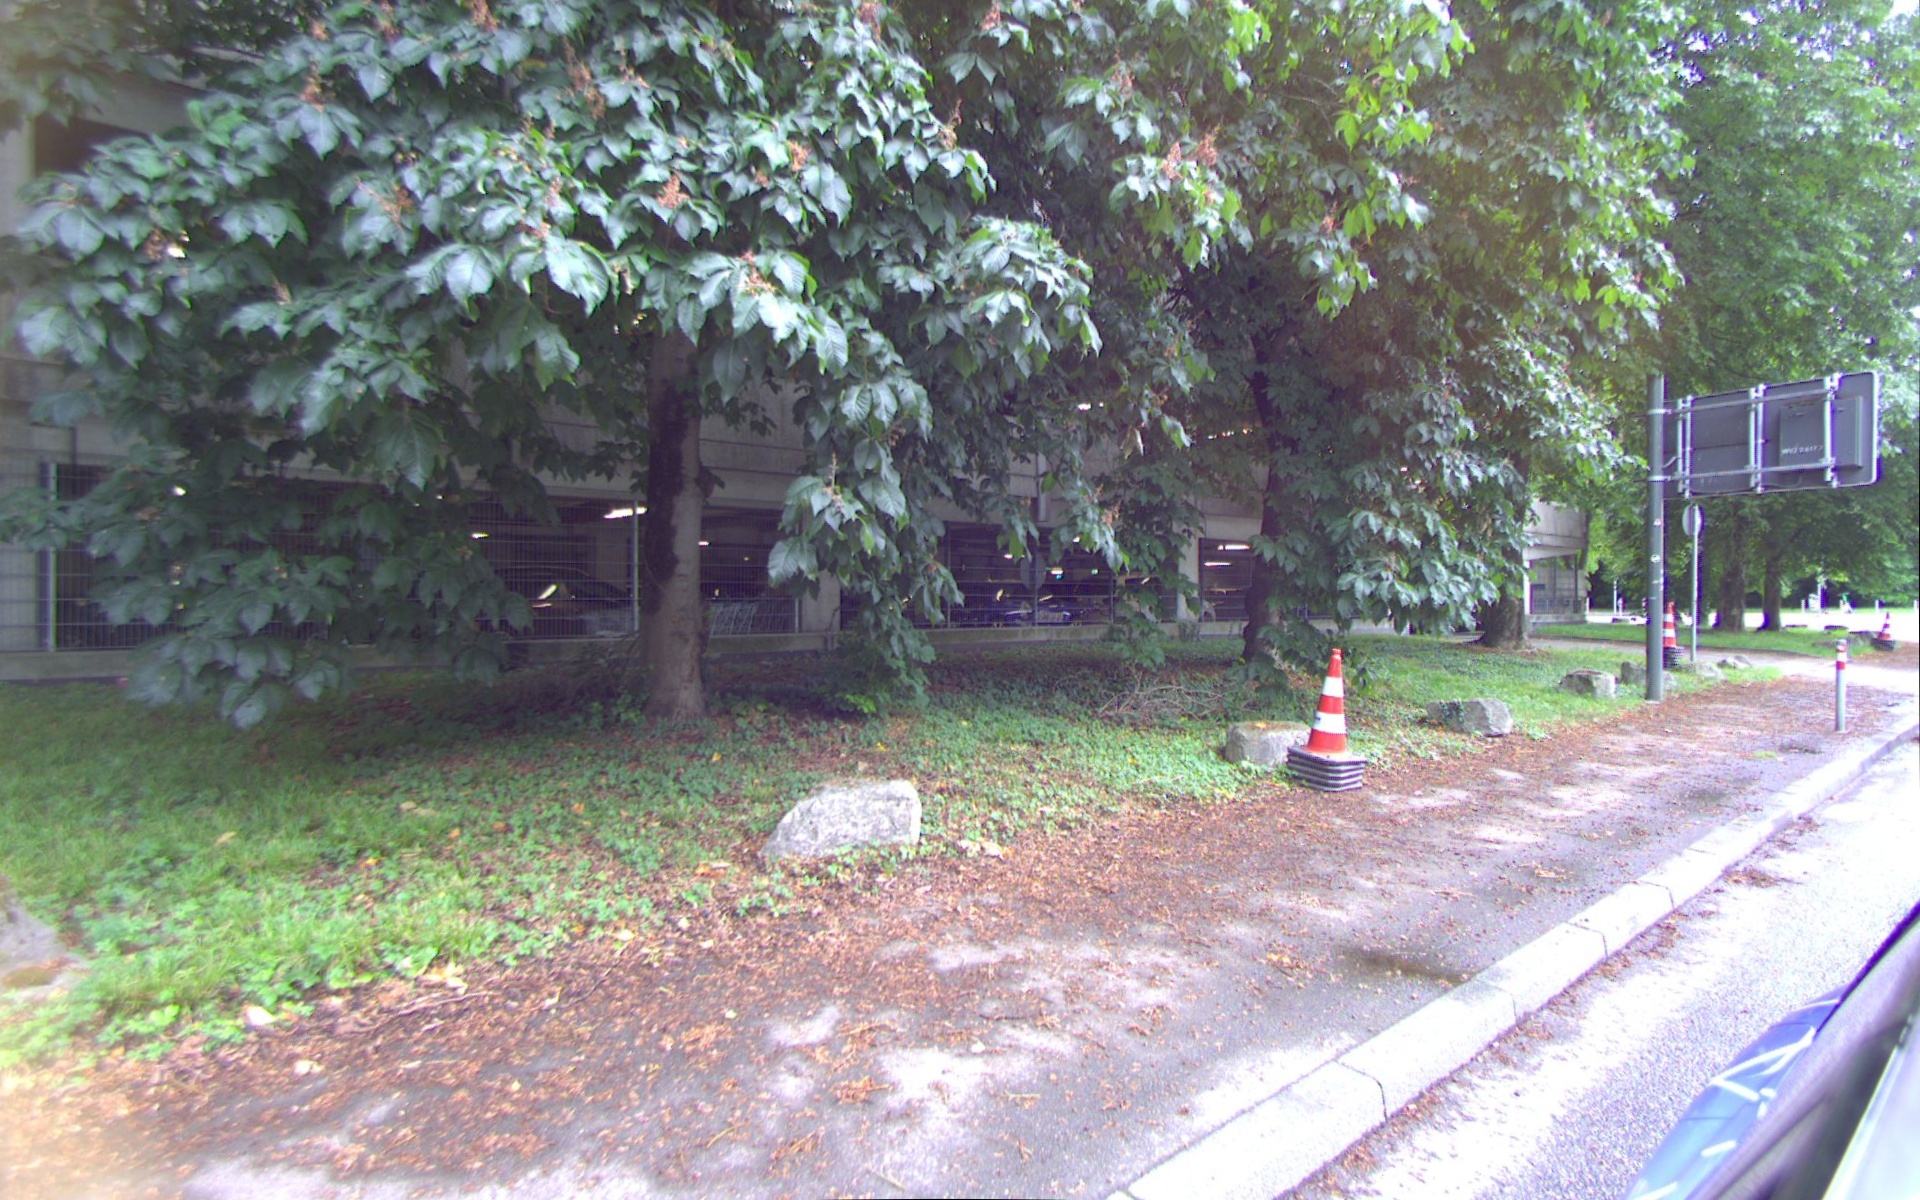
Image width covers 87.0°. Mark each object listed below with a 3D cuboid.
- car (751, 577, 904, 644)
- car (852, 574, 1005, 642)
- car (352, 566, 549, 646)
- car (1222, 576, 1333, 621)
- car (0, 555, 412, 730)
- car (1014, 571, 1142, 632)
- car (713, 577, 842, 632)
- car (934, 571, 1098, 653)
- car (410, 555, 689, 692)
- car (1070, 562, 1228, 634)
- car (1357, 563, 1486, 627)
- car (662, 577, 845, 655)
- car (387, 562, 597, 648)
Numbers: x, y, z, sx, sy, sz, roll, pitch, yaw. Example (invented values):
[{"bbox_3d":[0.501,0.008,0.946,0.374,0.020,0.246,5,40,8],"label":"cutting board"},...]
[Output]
[{"bbox_3d":[-3.440,0.235,26.539,3.639,1.565,1.718,-2,1,-42],"label":"car"},{"bbox_3d":[-0.752,0.167,25.794,3.639,1.565,1.718,-2,1,-42],"label":"car"},{"bbox_3d":[-11.435,0.096,22.843,3.639,1.627,1.718,-2,1,-42],"label":"car"},{"bbox_3d":[11.373,-0.081,36.139,3.927,1.471,1.876,-2,1,-38],"label":"car"},{"bbox_3d":[-10.324,0.442,13.892,4.594,2.039,1.996,-2,1,-41],"label":"car"},{"bbox_3d":[3.458,0.013,29.409,3.629,1.606,1.718,-2,1,-42],"label":"car"},{"bbox_3d":[-5.706,0.115,31.855,3.638,1.565,1.719,-2,1,-41],"label":"car"},{"bbox_3d":[1.362,0.235,23.802,3.791,1.730,1.588,-2,1,-41],"label":"car"},{"bbox_3d":[-6.863,0.306,17.078,3.929,2.039,1.997,-2,1,-40],"label":"car"},{"bbox_3d":[5.085,-0.096,26.814,4.587,1.730,1.588,-2,1,-41],"label":"car"},{"bbox_3d":[14.554,-0.170,31.801,4.653,1.858,1.922,-1,0,-41],"label":"car"},{"bbox_3d":[-4.579,0.313,22.695,3.639,1.565,1.718,-2,1,-42],"label":"car"},{"bbox_3d":[-9.746,0.067,21.198,3.639,1.627,1.718,-2,1,-42],"label":"car"}]
